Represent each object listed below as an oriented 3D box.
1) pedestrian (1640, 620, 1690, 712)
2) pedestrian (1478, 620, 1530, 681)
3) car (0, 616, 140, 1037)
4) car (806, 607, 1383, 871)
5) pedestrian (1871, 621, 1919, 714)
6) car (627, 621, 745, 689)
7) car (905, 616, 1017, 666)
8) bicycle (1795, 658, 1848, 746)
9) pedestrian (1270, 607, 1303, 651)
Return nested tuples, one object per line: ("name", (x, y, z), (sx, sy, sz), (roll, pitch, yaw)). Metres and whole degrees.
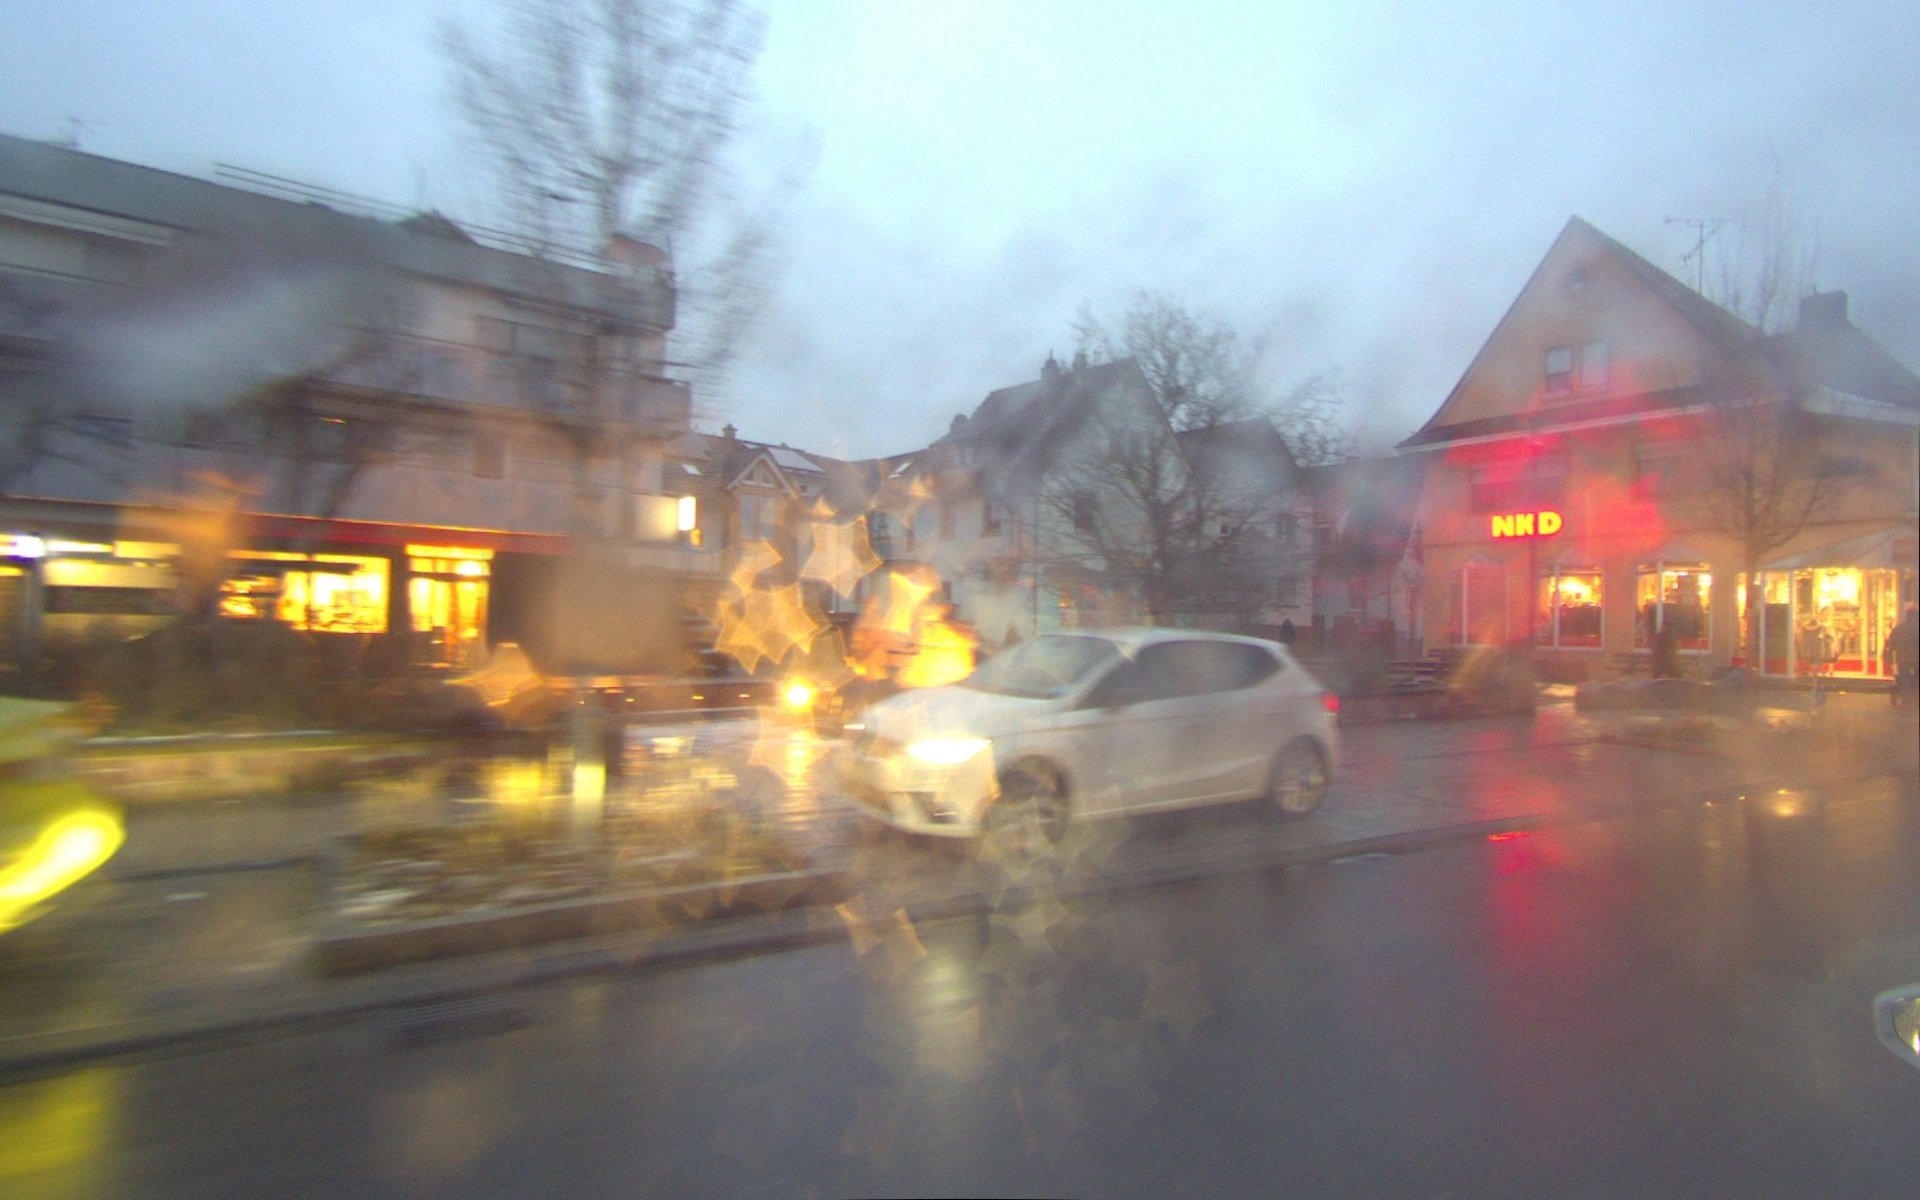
("pedestrian", (16.114, 1.490, 22.976), (0.722, 2.040, 0.826), (1, 0, 23))
("pedestrian", (11.892, 1.094, 21.970), (0.673, 1.262, 0.826), (1, 0, 3))
("car", (-5.594, 0.780, 3.226), (4.325, 1.451, 1.686), (1, 0, -30))
("car", (1.101, 0.867, 7.647), (4.133, 1.508, 1.776), (2, 0, -30))
("pedestrian", (17.819, 1.246, 18.797), (1.085, 1.680, 0.822), (1, 0, -31))
("car", (-8.178, 1.590, 29.812), (1.983, 1.868, 3.956), (2, -3, -39))
("car", (-0.022, 1.386, 34.713), (1.965, 1.624, 3.961), (1, -2, -35))
("bicycle", (11.815, 1.372, 13.761), (1.733, 1.075, 0.321), (0, -5, -45))
("pedestrian", (13.539, 1.204, 41.618), (0.834, 1.739, 0.909), (1, 3, -41))
